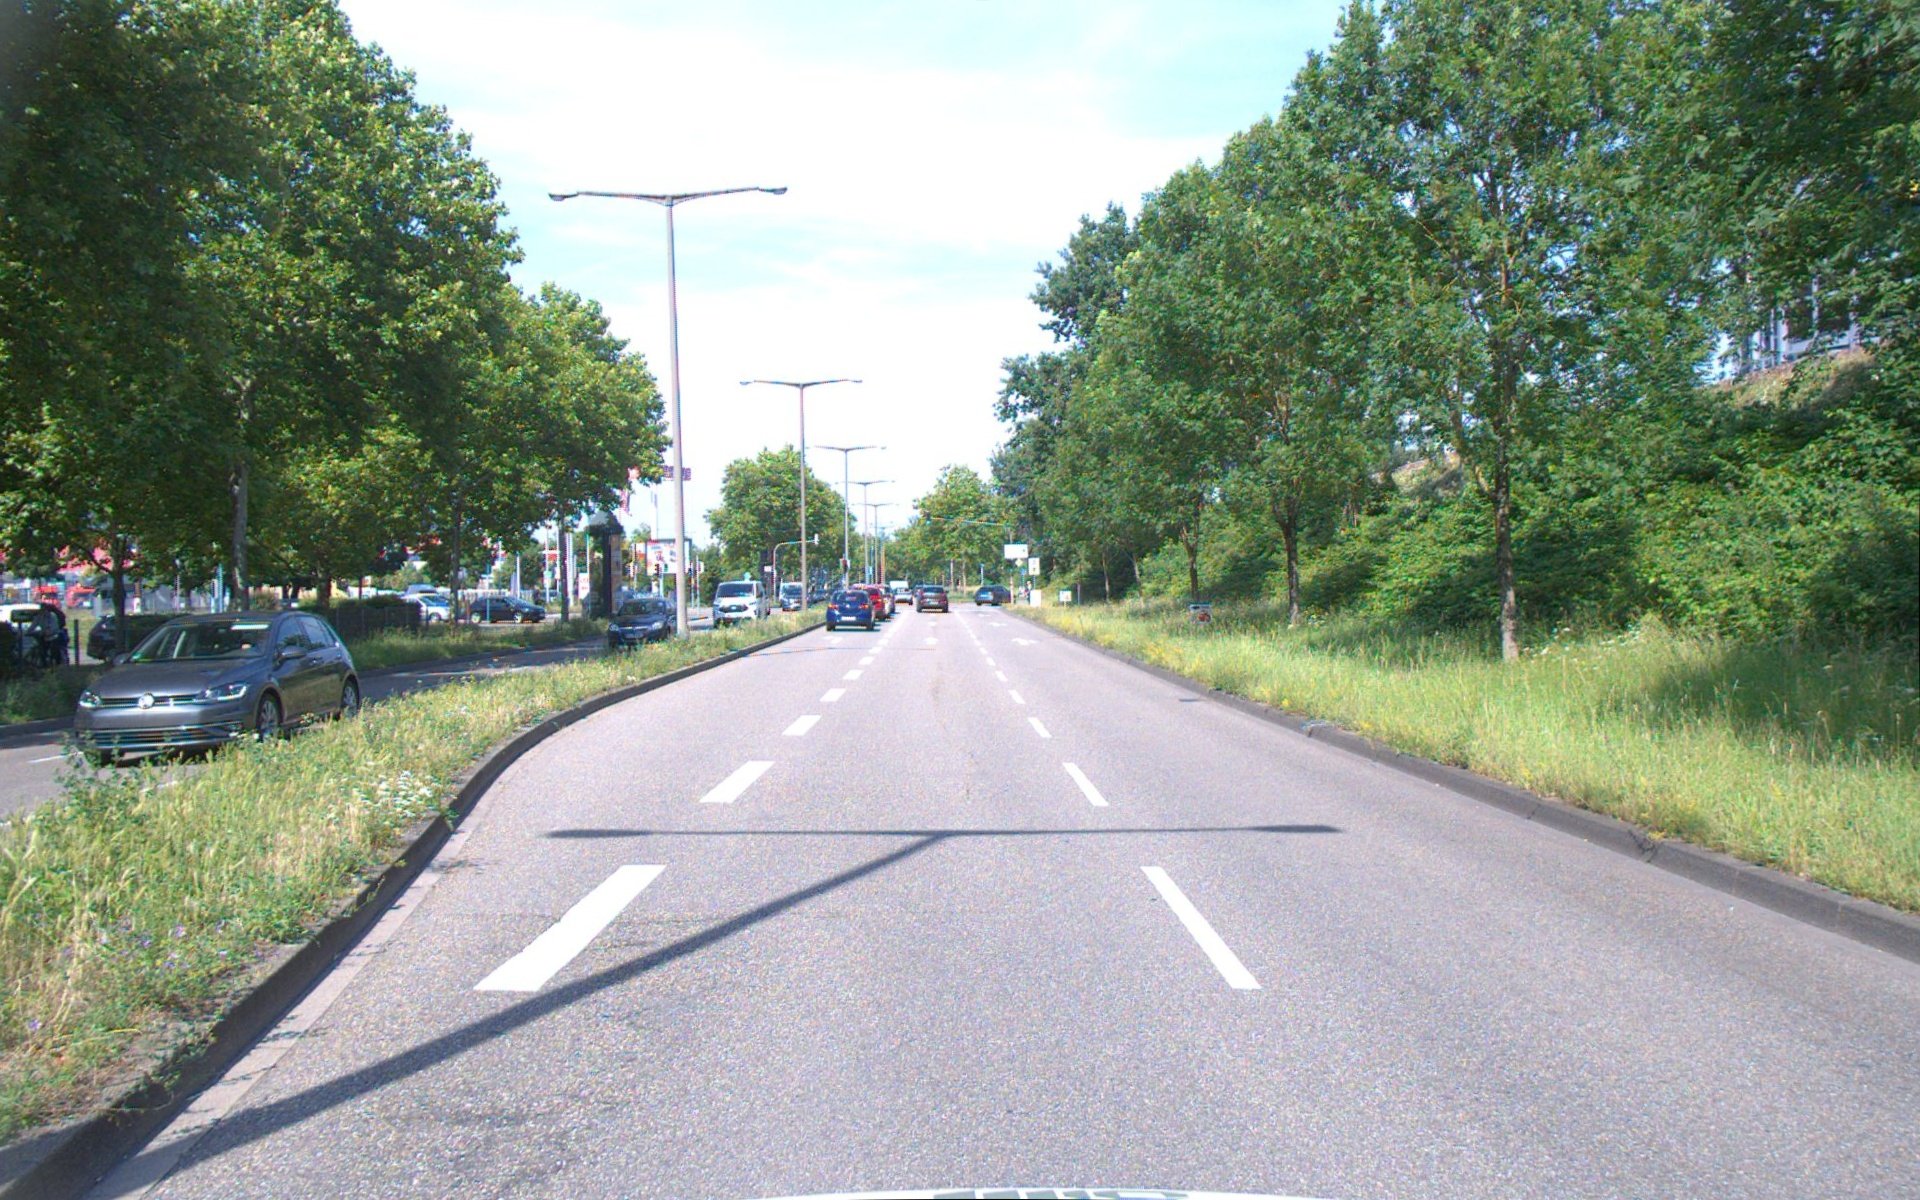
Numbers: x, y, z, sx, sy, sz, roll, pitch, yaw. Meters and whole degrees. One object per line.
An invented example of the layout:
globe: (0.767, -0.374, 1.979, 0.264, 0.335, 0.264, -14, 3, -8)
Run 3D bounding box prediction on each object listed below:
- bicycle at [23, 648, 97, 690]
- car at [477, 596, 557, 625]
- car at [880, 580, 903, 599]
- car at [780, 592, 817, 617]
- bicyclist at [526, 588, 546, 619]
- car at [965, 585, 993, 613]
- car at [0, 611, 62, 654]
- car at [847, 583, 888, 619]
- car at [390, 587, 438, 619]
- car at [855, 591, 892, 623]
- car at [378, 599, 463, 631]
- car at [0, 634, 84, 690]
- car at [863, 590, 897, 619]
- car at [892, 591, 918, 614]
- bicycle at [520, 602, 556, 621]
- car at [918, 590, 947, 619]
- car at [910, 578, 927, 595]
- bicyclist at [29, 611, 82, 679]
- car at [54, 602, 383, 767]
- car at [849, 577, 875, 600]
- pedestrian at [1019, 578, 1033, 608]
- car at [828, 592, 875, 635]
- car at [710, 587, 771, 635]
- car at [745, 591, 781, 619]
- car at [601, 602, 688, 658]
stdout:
bicycle: (-20.755, 1.585, 38.184, 0.675, 0.881, 1.926, -2, 0, -1)
car: (-23.637, 0.564, 88.251, 3.908, 1.412, 1.764, -1, 1, 26)
car: (-6.377, -0.996, 154.440, 1.953, 1.738, 4.263, -1, 0, -1)
car: (-10.517, 0.296, 107.800, 1.953, 1.557, 4.681, -2, 0, -1)
bicyclist: (-24.970, 0.217, 97.441, 0.890, 1.745, 0.772, -2, 3, -37)
car: (1.366, -0.086, 120.529, 1.977, 1.869, 4.000, 0, 3, -1)
car: (-39.117, 1.345, 69.014, 1.982, 1.694, 4.774, -2, 0, -40)
car: (-4.246, 0.035, 76.237, 1.746, 1.620, 4.592, 0, 0, -2)
car: (-45.784, 0.279, 138.757, 1.985, 2.577, 4.563, -2, 1, -45)
car: (-4.285, 0.327, 82.530, 1.730, 1.505, 4.134, 0, 0, -2)
car: (-29.279, 0.817, 89.810, 4.061, 1.631, 1.724, -2, 0, 11)
car: (-25.595, 1.646, 43.683, 3.911, 1.438, 1.802, -1, -1, -7)
car: (-4.622, 0.235, 95.612, 1.843, 1.646, 4.211, 0, 0, -2)
car: (-4.425, 0.165, 132.732, 1.953, 1.774, 4.264, -1, 0, -1)
bicycle: (-24.896, 0.673, 97.520, 1.933, 1.000, 0.779, -2, 3, -37)
car: (-1.636, 0.272, 99.544, 1.701, 1.562, 4.000, 0, 3, -1)
car: (-5.214, -1.720, 208.433, 1.954, 2.049, 3.996, -1, 0, -5)
bicyclist: (-20.767, 1.030, 37.988, 0.667, 1.511, 0.941, -1, 0, -1)
car: (-7.781, 0.804, 17.820, 1.803, 1.504, 4.163, -1, 0, -3)
car: (-8.529, -1.004, 143.785, 1.952, 1.892, 4.000, -1, 0, 0)
pedestrian: (4.377, -0.474, 109.624, 0.821, 1.966, 0.771, 0, 2, -5)
car: (-3.997, 0.484, 61.368, 1.593, 1.509, 4.047, 1, 0, -2)
car: (-9.504, 0.445, 72.015, 2.074, 1.916, 5.417, -2, 0, -2)
car: (-12.774, 0.313, 107.525, 1.937, 1.722, 3.998, -2, 0, -2)
car: (-9.120, 0.831, 48.097, 1.732, 1.494, 4.282, -2, 0, -1)
